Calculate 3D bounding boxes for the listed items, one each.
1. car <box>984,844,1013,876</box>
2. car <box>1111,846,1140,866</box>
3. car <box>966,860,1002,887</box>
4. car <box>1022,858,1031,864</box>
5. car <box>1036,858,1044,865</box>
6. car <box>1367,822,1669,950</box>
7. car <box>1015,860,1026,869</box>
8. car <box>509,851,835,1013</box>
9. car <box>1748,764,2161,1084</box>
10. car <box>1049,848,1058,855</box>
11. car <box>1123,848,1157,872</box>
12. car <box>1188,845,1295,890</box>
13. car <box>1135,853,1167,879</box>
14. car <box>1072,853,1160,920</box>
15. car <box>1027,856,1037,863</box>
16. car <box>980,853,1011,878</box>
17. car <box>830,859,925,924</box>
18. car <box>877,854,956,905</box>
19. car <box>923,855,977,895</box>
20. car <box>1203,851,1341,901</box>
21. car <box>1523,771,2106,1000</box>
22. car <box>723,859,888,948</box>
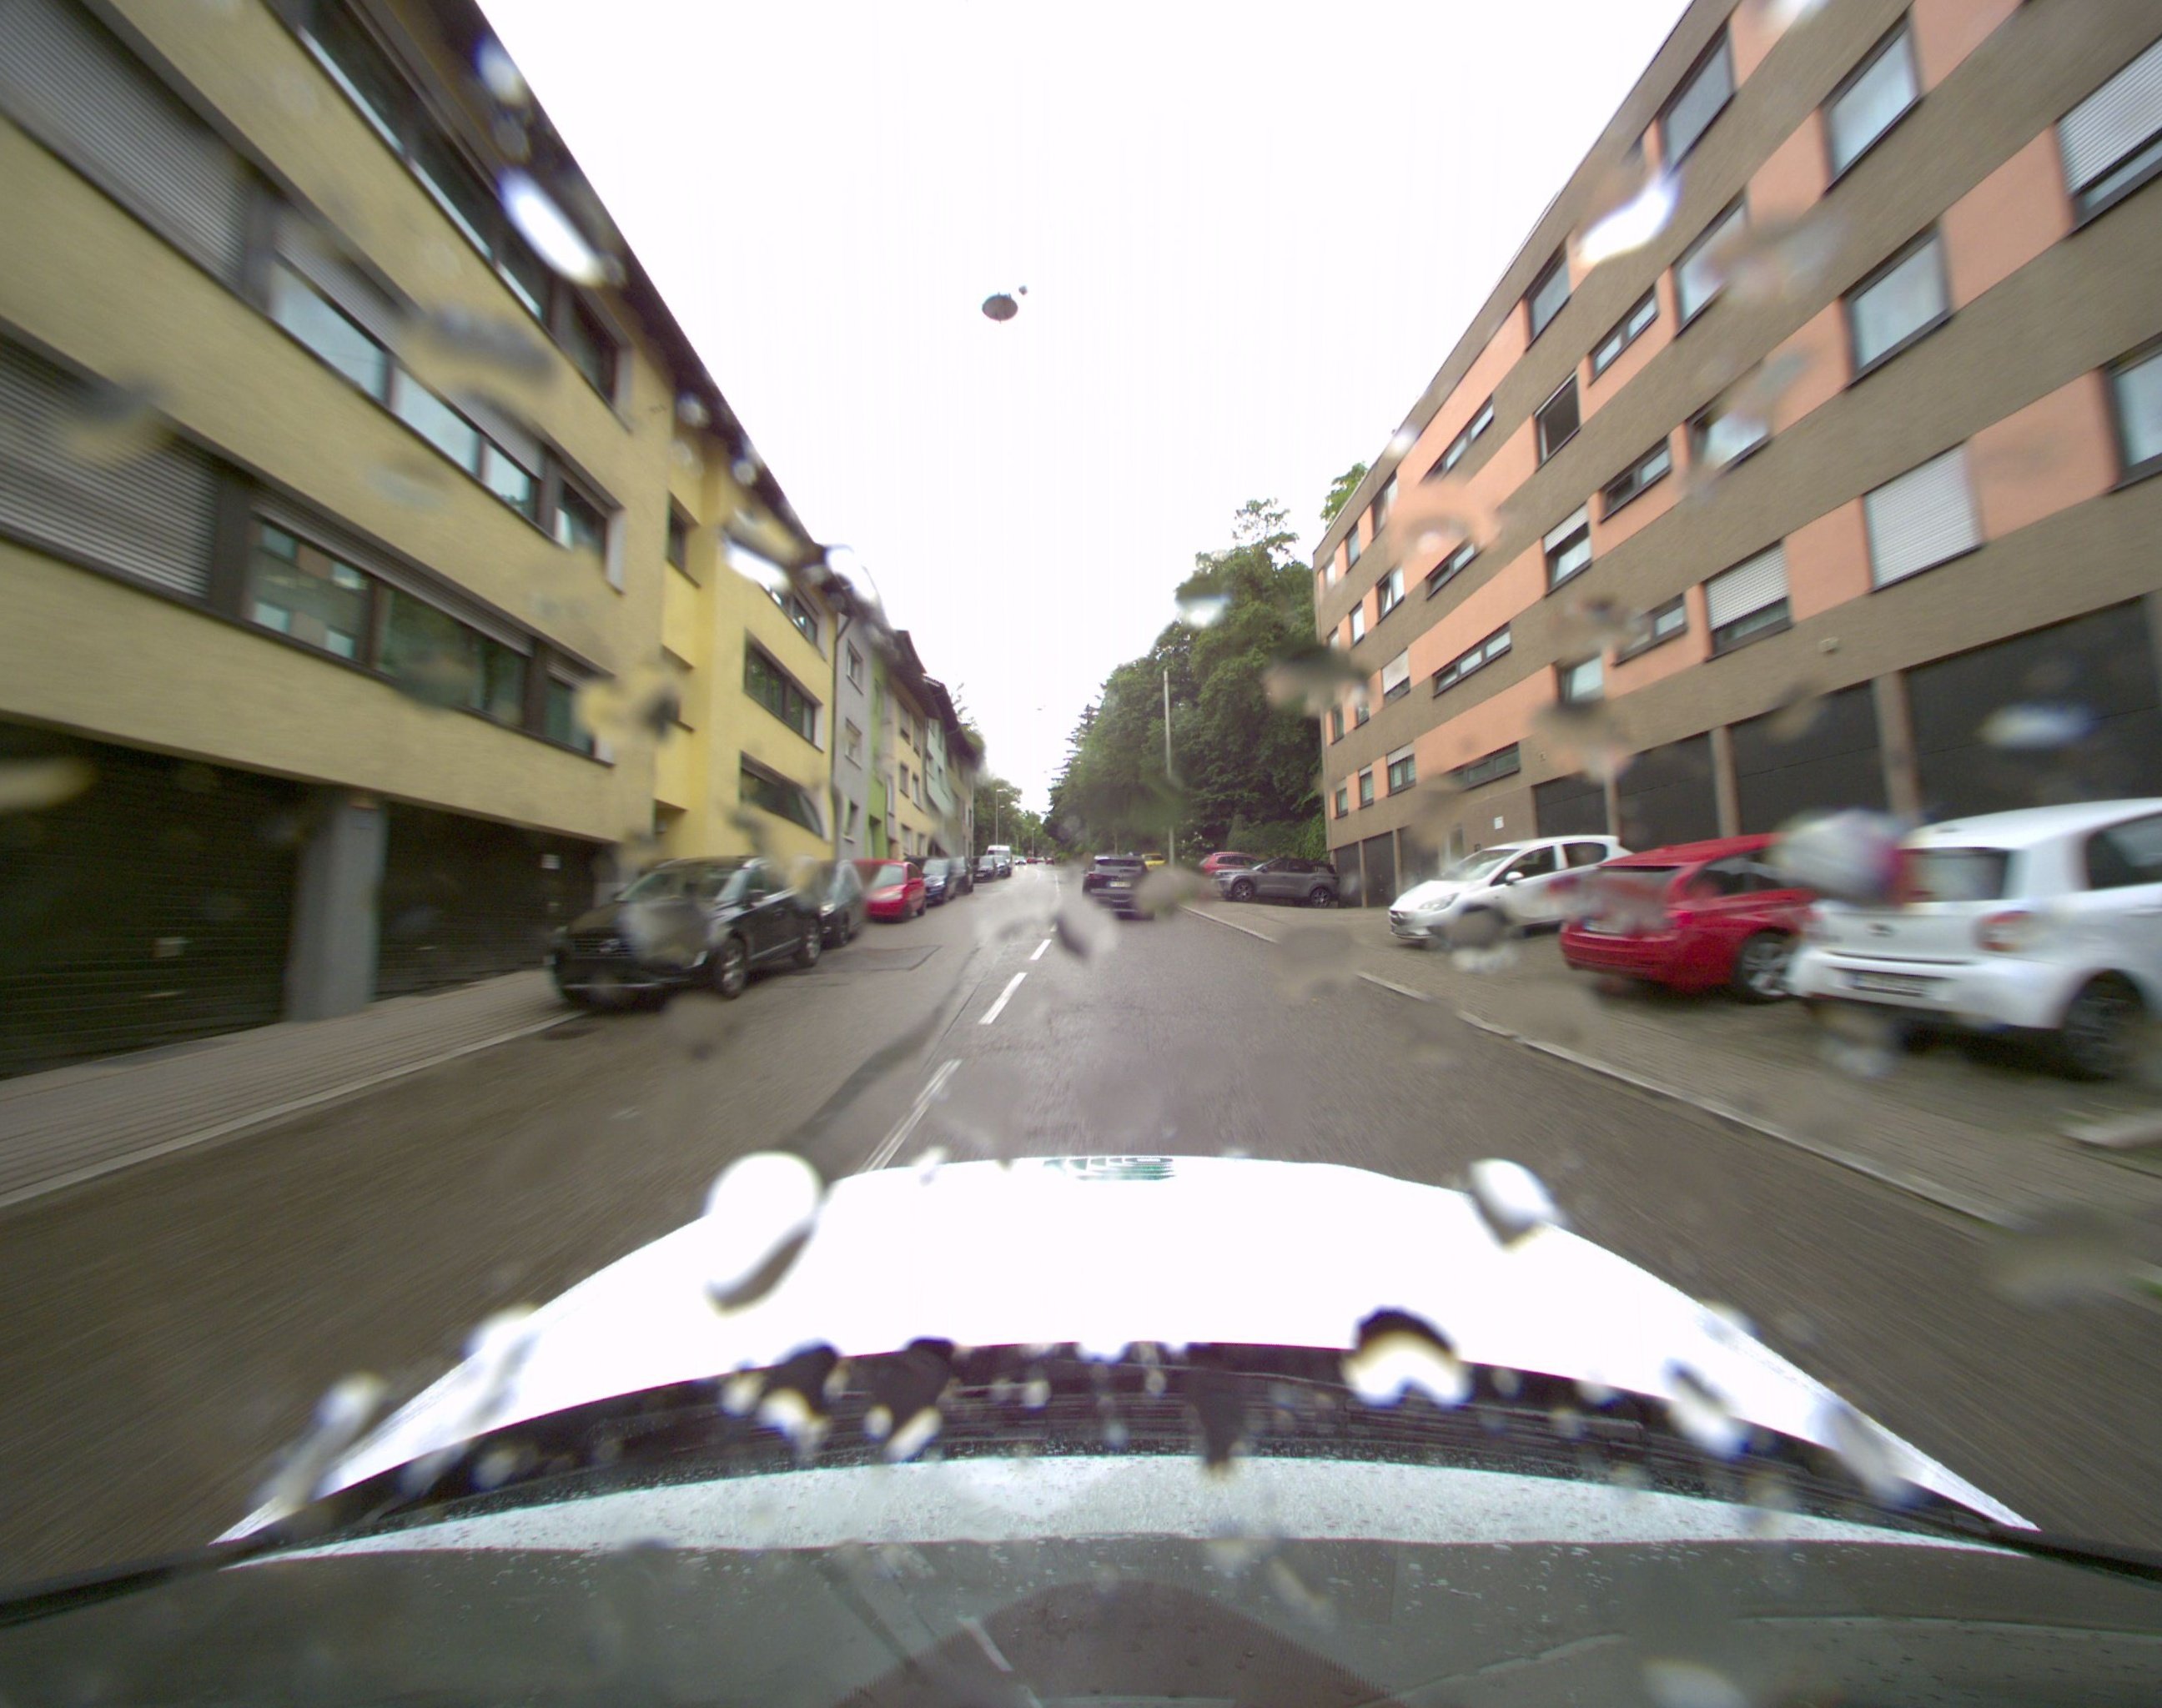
[{"bbox_3d":[-6.604,0.451,65.764,1.986,2.475,5.777,-1,0,-3],"label":"car"},{"bbox_3d":[3.709,0.203,68.416,1.808,1.530,4.410,-2,0,-4],"label":"car"},{"bbox_3d":[-6.207,1.211,52.481,1.986,1.585,4.300,-1,0,-3],"label":"car"},{"bbox_3d":[-13.217,1.748,198.710,2.070,1.559,3.995,0,0,-3],"label":"car"},{"bbox_3d":[-11.354,2.130,227.022,1.987,2.014,3.999,1,-2,1],"label":"car"},{"bbox_3d":[6.942,0.465,13.159,3.957,1.530,1.689,-6,0,-7],"label":"car"},{"bbox_3d":[-11.361,1.894,152.766,1.990,1.559,3.994,1,0,-4],"label":"car"},{"bbox_3d":[-4.895,0.803,10.645,1.987,1.650,4.441,-1,0,0],"label":"car"},{"bbox_3d":[7.373,0.298,5.808,3.819,1.702,1.726,-6,0,-4],"label":"car"},{"bbox_3d":[-7.104,-0.578,210.380,1.987,1.560,3.999,-1,-2,0],"label":"car"},{"bbox_3d":[4.131,0.412,57.769,1.806,1.530,4.412,-2,0,-3],"label":"car"},{"bbox_3d":[6.939,0.572,35.353,4.193,1.734,1.756,2,-1,-7],"label":"car"},{"bbox_3d":[4.344,0.727,50.805,1.627,1.530,4.000,1,0,0],"label":"car"},{"bbox_3d":[0.822,0.777,21.423,1.988,1.559,3.997,1,0,-2],"label":"car"},{"bbox_3d":[-10.713,1.262,177.661,2.070,1.559,3.995,0,0,-4],"label":"car"},{"bbox_3d":[-6.160,0.786,58.931,1.986,1.755,4.474,-1,0,-3],"label":"car"},{"bbox_3d":[-5.141,0.890,20.982,1.725,1.472,3.487,-1,0,-3],"label":"car"},{"bbox_3d":[-5.491,0.791,27.681,1.989,1.585,4.466,-1,0,-3],"label":"car"},{"bbox_3d":[-5.518,0.849,34.766,1.849,1.585,4.300,-1,0,-3],"label":"car"},{"bbox_3d":[6.431,0.722,27.635,4.190,1.496,1.757,2,0,-5],"label":"car"},{"bbox_3d":[7.250,0.267,8.360,4.333,1.529,1.874,-7,0,-4],"label":"car"},{"bbox_3d":[-5.268,0.861,16.227,1.989,1.472,4.343,-1,0,-3],"label":"car"}]
